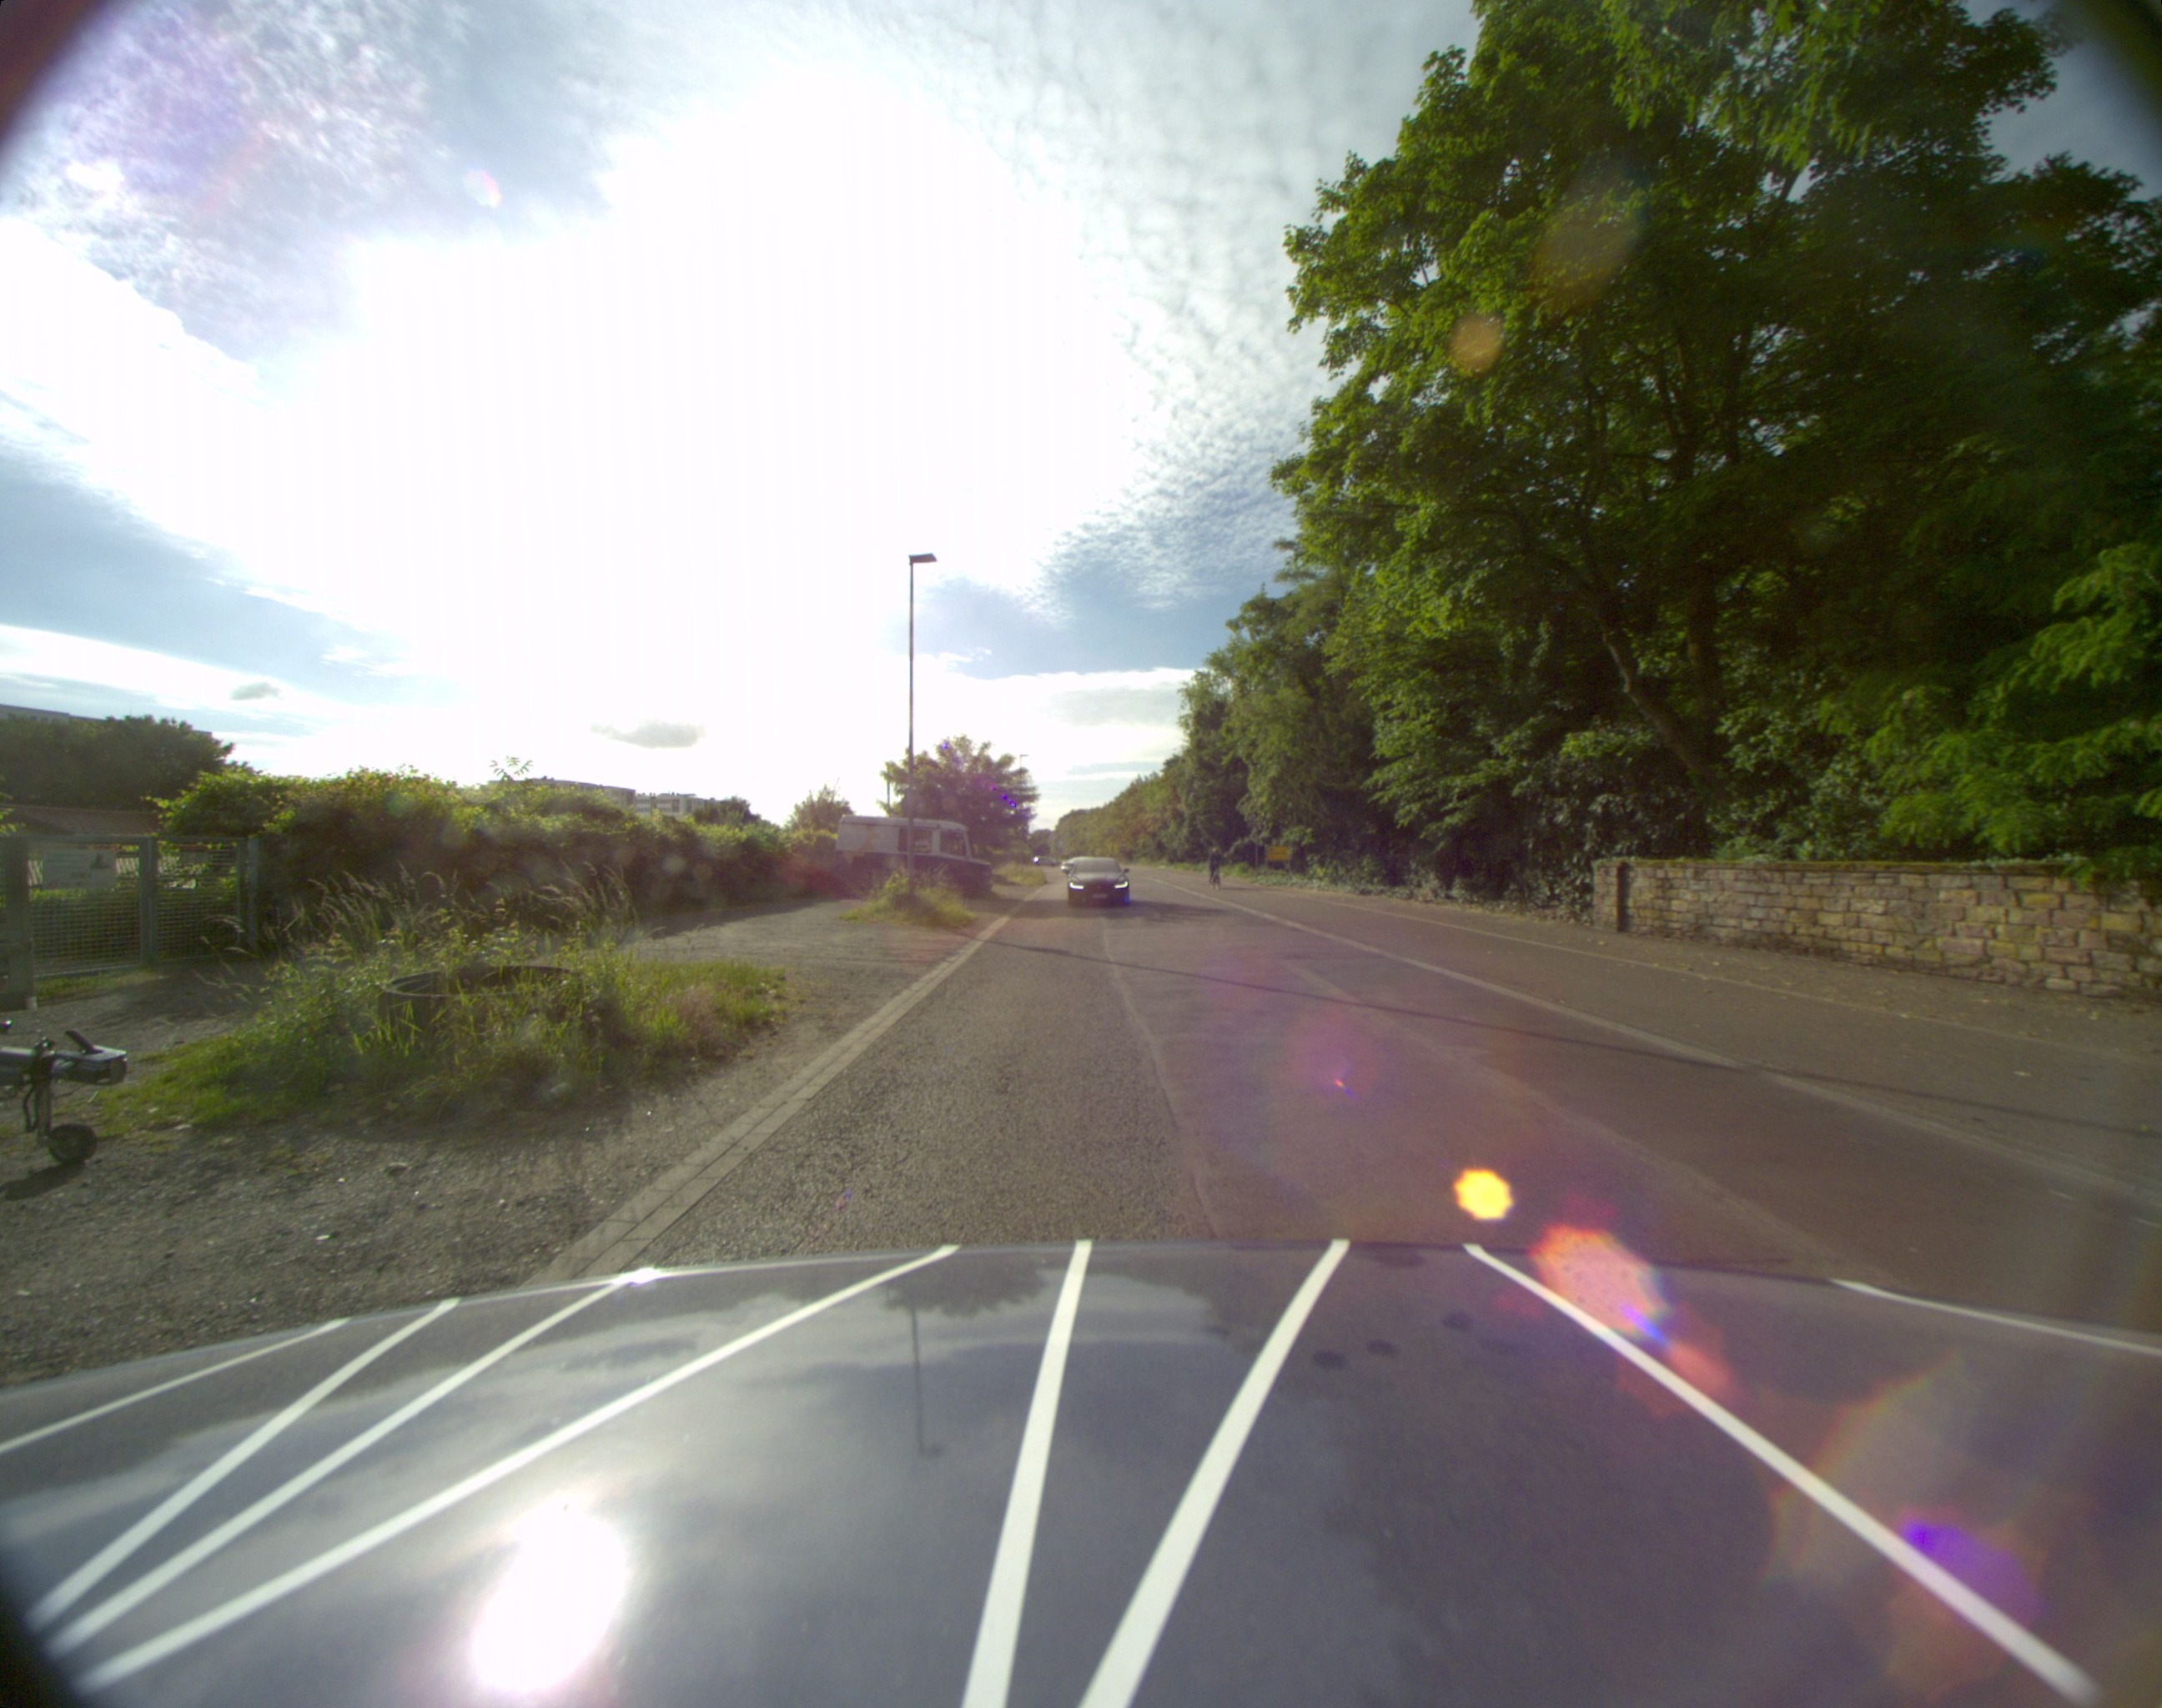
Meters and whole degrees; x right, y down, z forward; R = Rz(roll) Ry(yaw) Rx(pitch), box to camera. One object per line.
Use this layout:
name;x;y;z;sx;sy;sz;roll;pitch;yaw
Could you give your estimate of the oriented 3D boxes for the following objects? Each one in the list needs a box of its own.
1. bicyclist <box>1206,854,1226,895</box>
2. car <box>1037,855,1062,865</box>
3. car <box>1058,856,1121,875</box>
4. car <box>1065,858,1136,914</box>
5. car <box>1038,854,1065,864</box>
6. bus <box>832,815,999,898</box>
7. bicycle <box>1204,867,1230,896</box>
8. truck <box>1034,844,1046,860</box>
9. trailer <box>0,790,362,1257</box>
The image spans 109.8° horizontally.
bicyclist;5.644;0.835;31.783;0.610;1.667;0.883;-2;1;0
car;-4.995;0.968;121.518;3.867;1.481;1.692;2;-1;-1
car;0.662;0.865;58.050;4.382;1.435;1.928;0;1;-25
car;0.495;0.912;23.567;1.936;1.500;4.679;-1;0;-1
car;-5.204;0.918;132.364;4.599;1.689;1.763;1;0;0
bus;-5.631;0.113;26.463;5.380;2.730;2.068;1;0;-3
bicycle;5.664;1.129;31.775;0.664;1.091;2.348;-2;0;1
truck;-10.858;-0.530;201.542;2.604;3.935;6.279;3;-1;-8
trailer;-6.260;0.647;3.530;4.161;1.824;1.917;0;0;4
